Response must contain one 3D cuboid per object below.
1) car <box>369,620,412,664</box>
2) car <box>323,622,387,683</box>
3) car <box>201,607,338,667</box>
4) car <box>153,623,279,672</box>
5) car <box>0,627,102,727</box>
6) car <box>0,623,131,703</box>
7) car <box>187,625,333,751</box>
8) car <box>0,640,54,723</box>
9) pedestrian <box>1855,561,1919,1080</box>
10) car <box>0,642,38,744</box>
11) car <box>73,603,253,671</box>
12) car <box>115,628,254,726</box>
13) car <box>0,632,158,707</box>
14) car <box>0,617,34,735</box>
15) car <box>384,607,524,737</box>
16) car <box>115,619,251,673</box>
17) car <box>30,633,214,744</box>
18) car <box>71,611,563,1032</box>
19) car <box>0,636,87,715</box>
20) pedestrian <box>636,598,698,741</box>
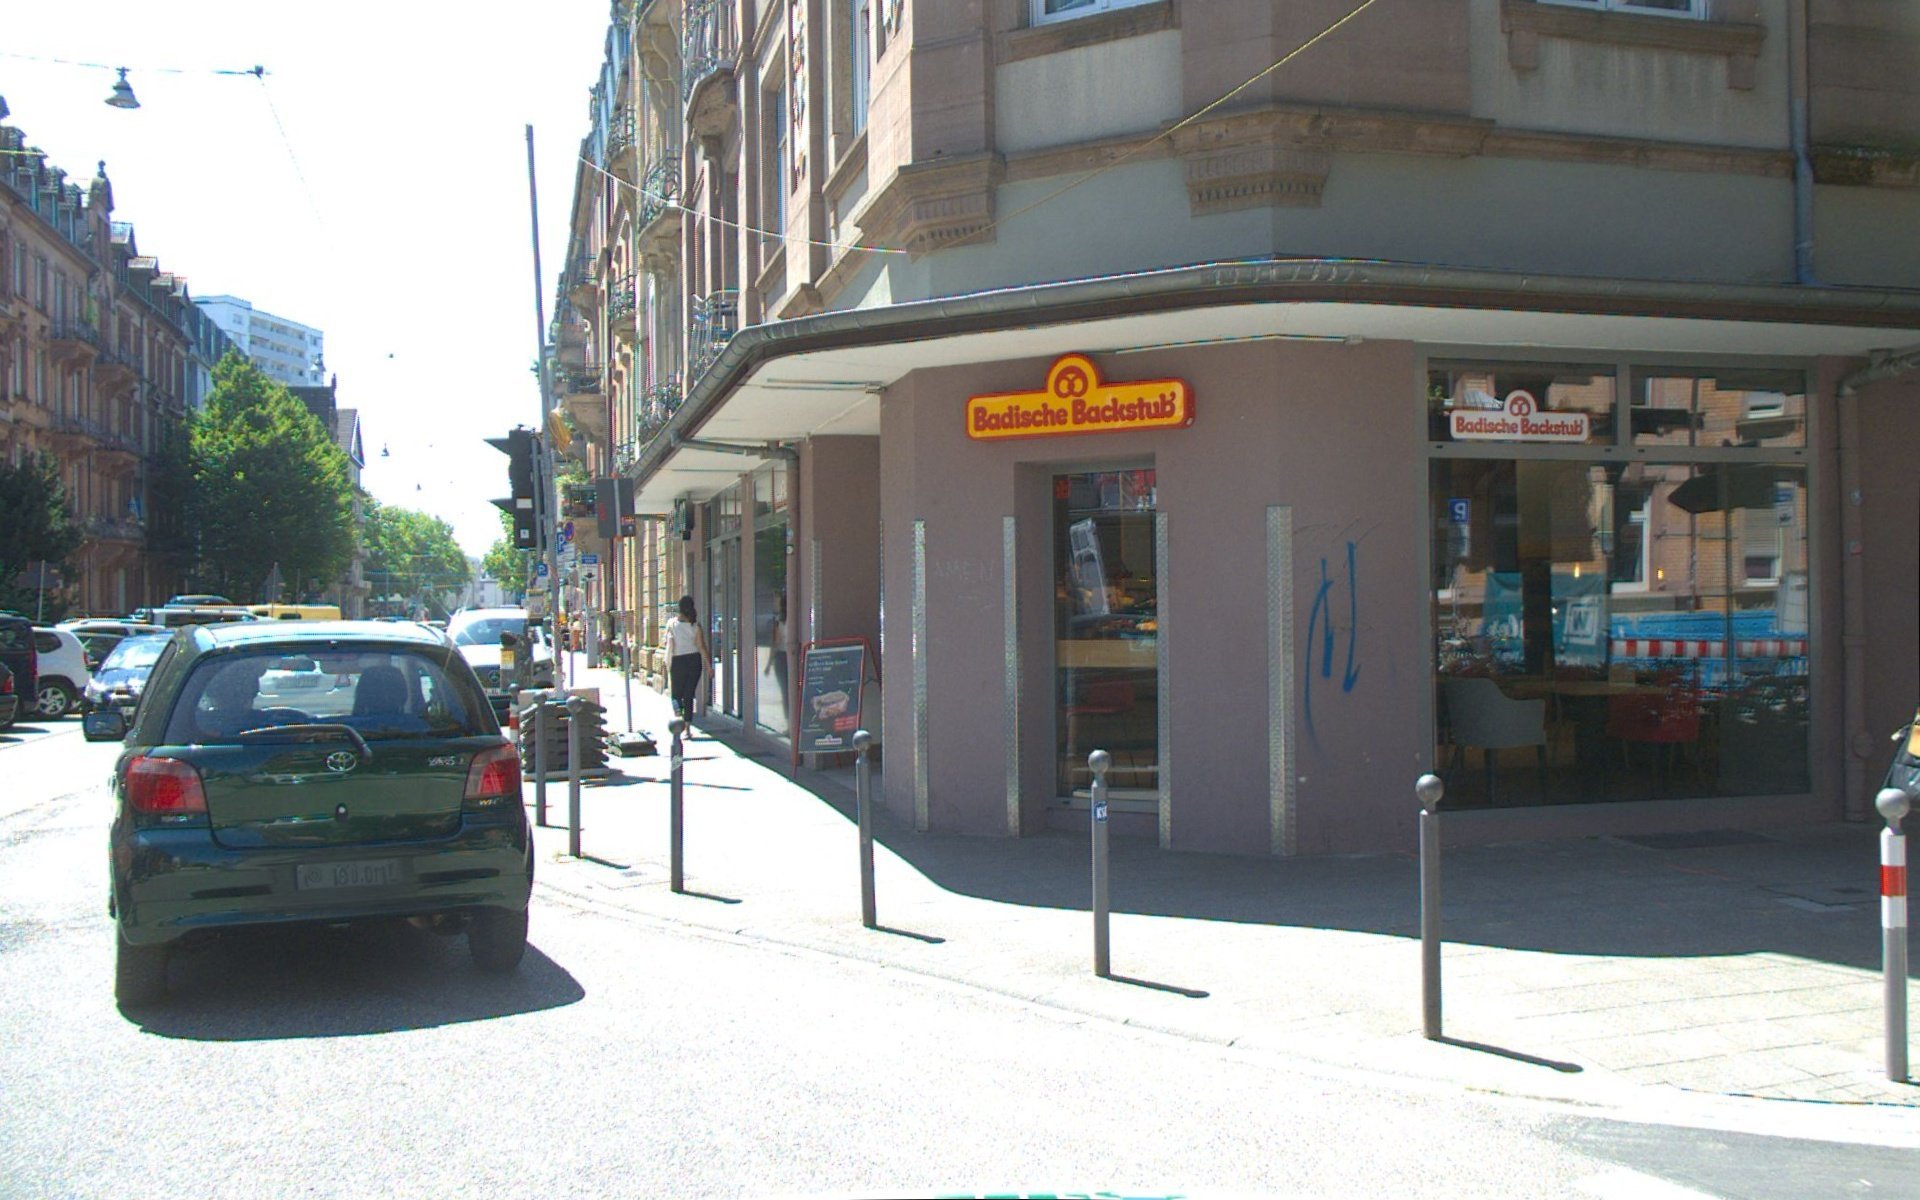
[{"bbox_3d":[-22.327,1.628,64.910,1.499,1.620,3.247,-1,0,-18],"label":"car"},{"bbox_3d":[-16.952,1.440,46.431,1.498,1.620,3.247,-1,0,-17],"label":"car"},{"bbox_3d":[-26.734,1.398,64.094,4.538,2.226,1.968,0,-1,-44],"label":"car"},{"bbox_3d":[-26.858,1.679,59.741,3.839,1.669,1.759,0,-1,-41],"label":"car"},{"bbox_3d":[-17.018,1.293,28.194,3.962,1.687,1.734,2,-2,-40],"label":"car"},{"bbox_3d":[-20.313,1.342,35.776,1.826,1.647,3.912,-1,-1,33],"label":"car"},{"bbox_3d":[-9.538,1.137,22.713,1.498,1.547,3.248,-1,0,-17],"label":"car"},{"bbox_3d":[-18.445,1.455,29.635,3.600,1.483,1.600,2,-2,-42],"label":"car"},{"bbox_3d":[3.406,0.710,5.513,0.693,1.673,0.419,-3,3,-25],"label":"pedestrian"},{"bbox_3d":[-15.466,1.307,23.227,1.935,1.437,3.977,0,-2,41],"label":"car"},{"bbox_3d":[-25.044,1.137,52.082,2.019,2.029,4.756,-1,-1,44],"label":"car"},{"bbox_3d":[-15.188,1.449,32.596,1.727,1.674,4.357,-4,0,-16],"label":"car"},{"bbox_3d":[-21.132,1.592,38.792,3.887,1.647,1.838,0,-1,-41],"label":"car"},{"bbox_3d":[-16.592,1.146,25.233,1.739,1.836,3.973,0,-2,43],"label":"car"},{"bbox_3d":[-7.777,1.037,25.587,1.841,1.743,4.483,-2,0,-16],"label":"car"},{"bbox_3d":[-26.597,1.545,56.672,3.887,1.738,1.838,0,-1,-41],"label":"car"},{"bbox_3d":[-12.520,1.262,24.947,1.726,1.469,3.982,-1,-1,-16],"label":"car"},{"bbox_3d":[-3.150,0.822,7.753,1.598,1.511,3.205,1,-1,-32],"label":"car"},{"bbox_3d":[-19.515,1.489,32.368,1.827,1.496,3.910,-1,-1,34],"label":"car"},{"bbox_3d":[-3.486,0.810,19.628,0.631,1.652,0.800,-1,-1,-17],"label":"pedestrian"}]
